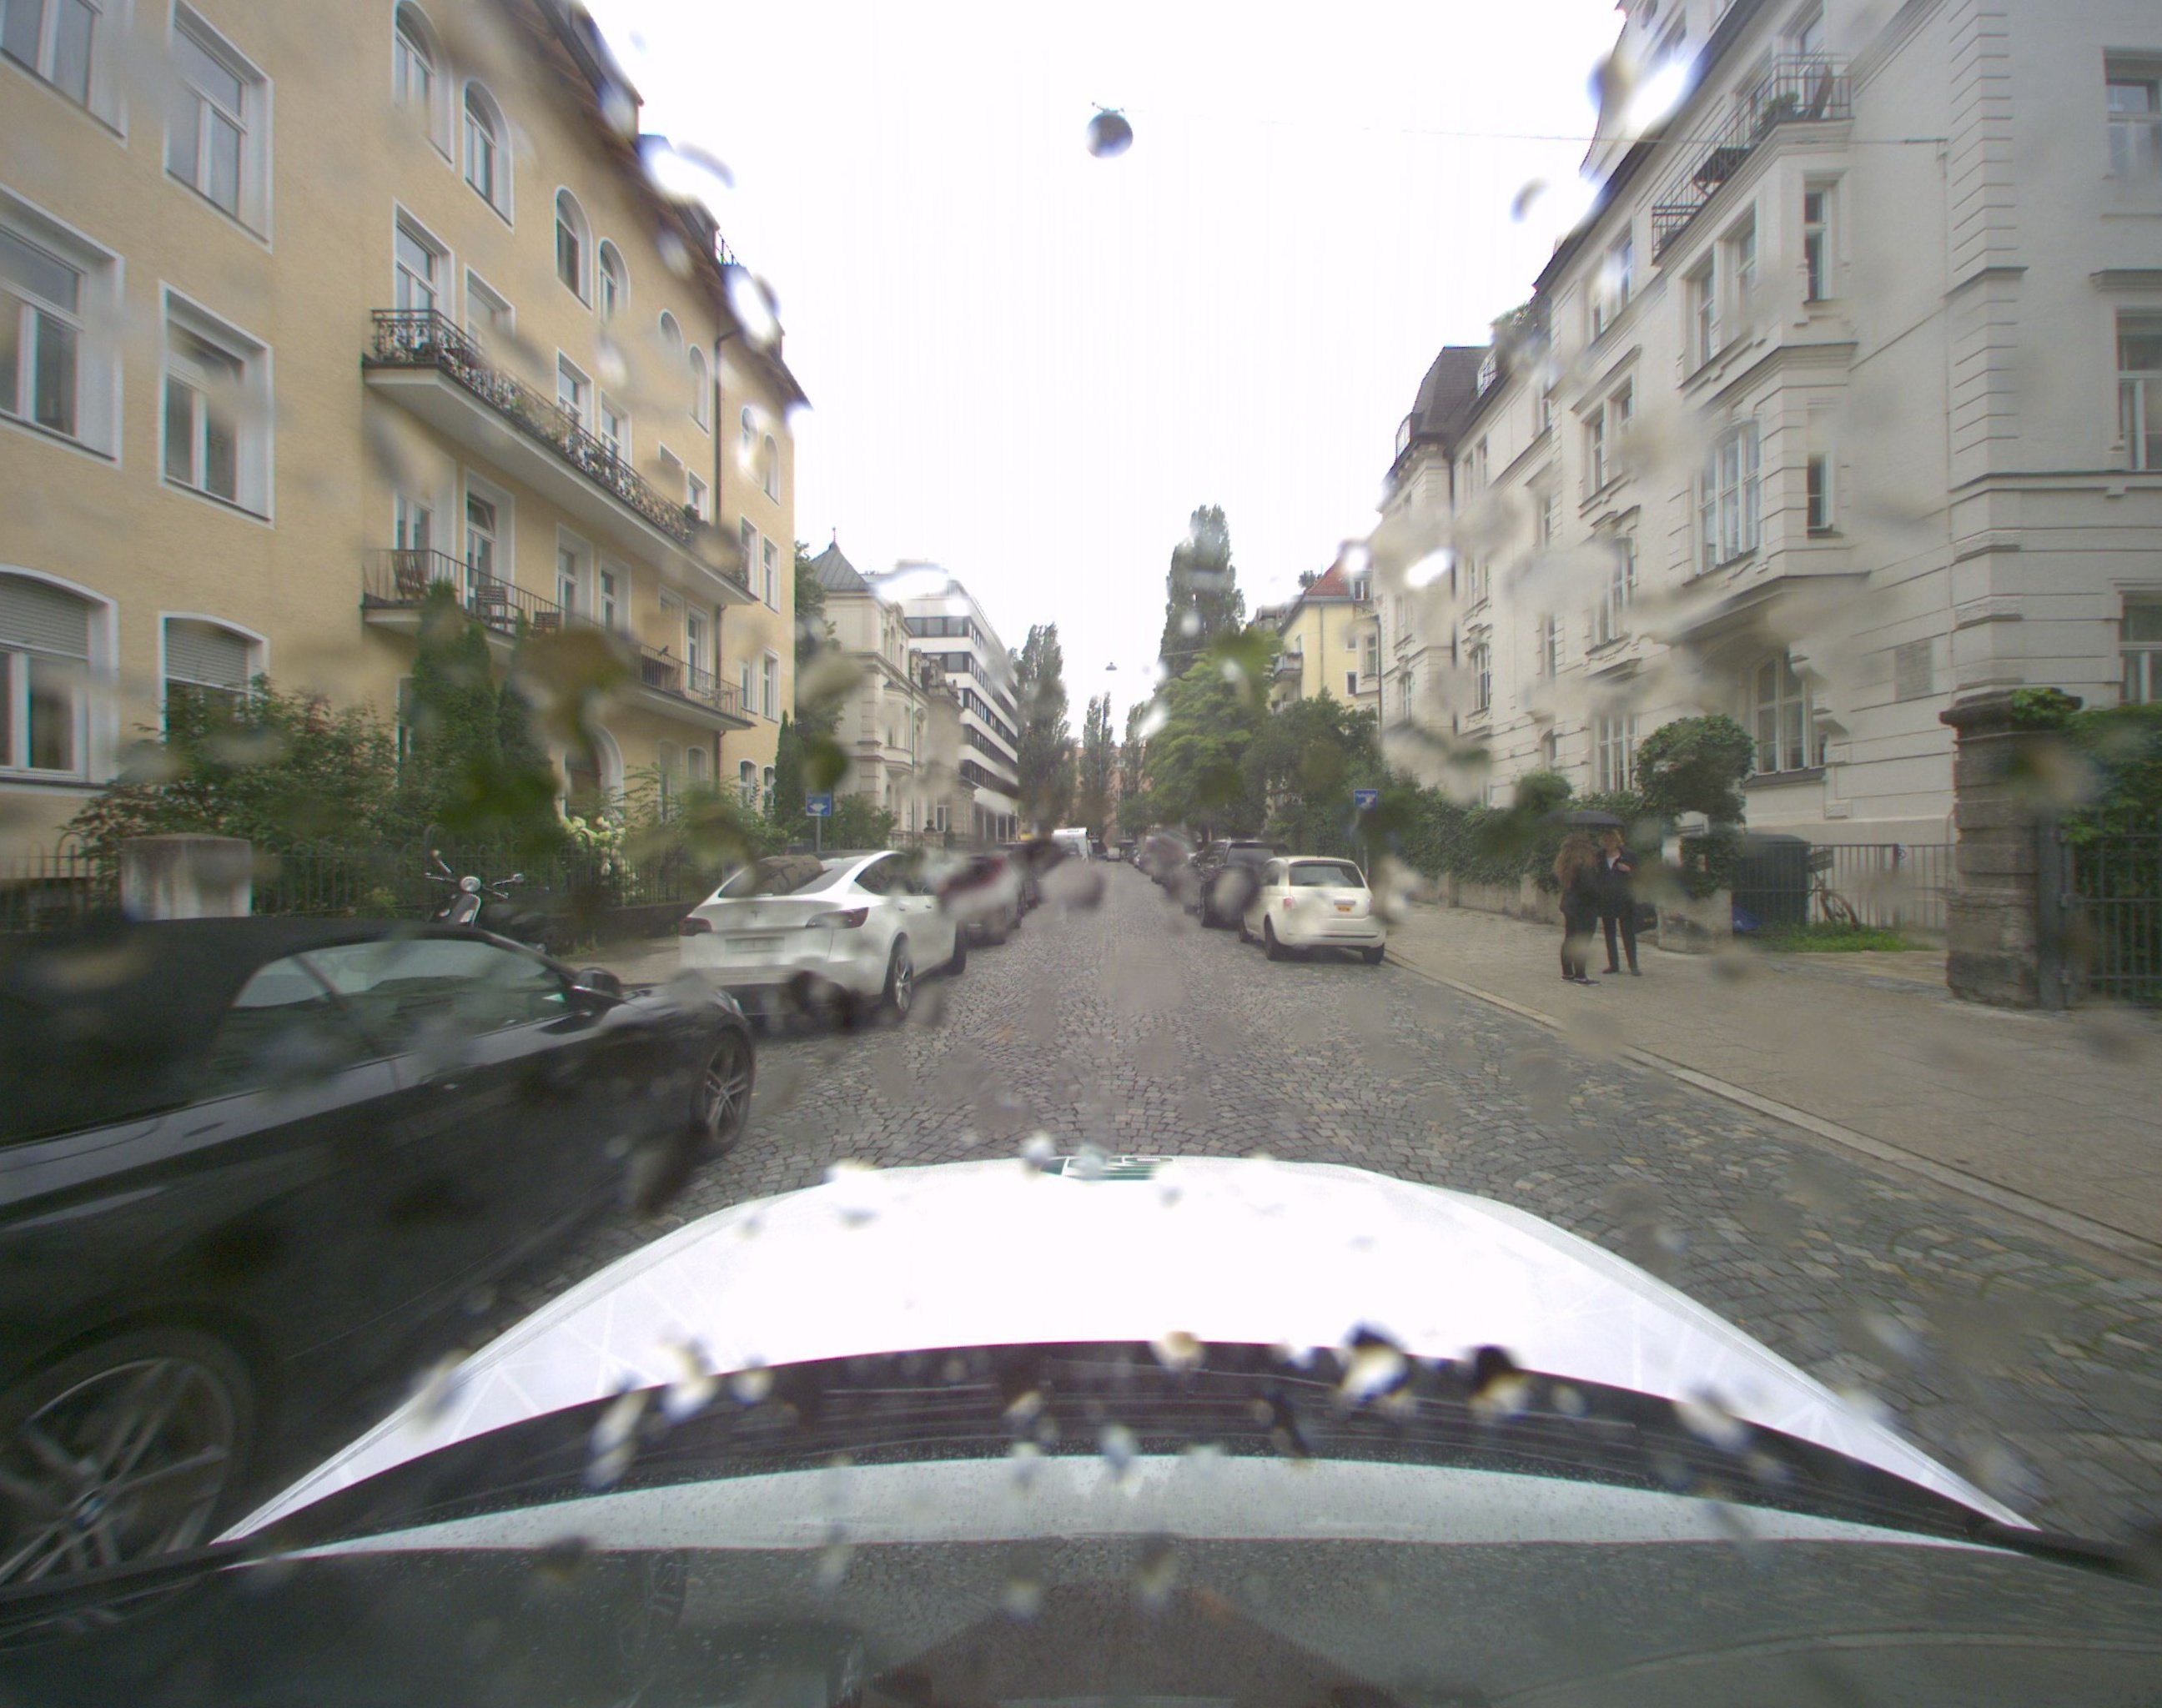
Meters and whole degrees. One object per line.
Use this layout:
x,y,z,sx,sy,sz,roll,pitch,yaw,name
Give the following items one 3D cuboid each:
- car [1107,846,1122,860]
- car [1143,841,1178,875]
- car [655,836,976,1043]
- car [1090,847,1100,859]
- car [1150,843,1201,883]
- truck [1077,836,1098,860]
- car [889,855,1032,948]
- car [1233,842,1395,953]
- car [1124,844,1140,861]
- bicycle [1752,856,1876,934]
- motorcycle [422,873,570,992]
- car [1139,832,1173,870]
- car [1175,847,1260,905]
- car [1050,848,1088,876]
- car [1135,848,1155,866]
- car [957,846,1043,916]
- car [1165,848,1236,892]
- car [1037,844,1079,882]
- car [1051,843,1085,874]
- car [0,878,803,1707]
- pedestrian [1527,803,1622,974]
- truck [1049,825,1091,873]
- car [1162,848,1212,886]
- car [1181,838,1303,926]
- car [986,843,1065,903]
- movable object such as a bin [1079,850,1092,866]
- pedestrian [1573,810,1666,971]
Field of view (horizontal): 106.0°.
4.551,-0.140,109.909,1.988,1.936,4.004,-1,0,3,car
4.976,0.234,51.370,1.793,1.949,4.862,2,0,1,car
-2.406,0.689,8.687,1.766,1.647,4.394,0,0,3,car
1.962,-0.146,110.744,1.272,1.541,3.120,0,0,2,car
4.388,0.394,38.549,1.956,1.759,4.956,0,0,1,car
0.688,-0.612,84.791,1.986,2.346,4.070,0,0,2,truck
-2.009,0.750,14.859,1.767,1.429,4.393,0,0,2,car
3.513,0.594,12.918,1.624,1.469,3.661,1,0,2,car
6.042,-0.124,96.324,1.860,1.961,4.004,-1,0,3,car
10.521,0.557,11.752,0.392,1.042,1.484,0,0,-3,bicycle
-6.527,0.829,9.181,0.489,1.194,1.580,0,0,2,motorcycle
5.197,-0.247,57.161,1.888,2.426,5.613,3,1,1,car
3.828,0.577,23.507,1.703,1.482,4.249,2,0,0,car
-0.618,0.424,44.749,1.933,1.459,4.059,0,0,1,car
5.449,0.248,69.659,1.594,1.486,3.480,0,0,1,car
-1.997,0.645,21.146,1.573,1.590,4.058,-3,0,2,car
4.166,0.531,29.021,1.769,1.429,4.388,0,0,-1,car
-1.061,0.429,39.413,1.767,1.717,4.392,0,0,1,car
-0.759,0.276,49.938,1.887,1.751,4.168,-2,0,0,car
-2.684,0.886,2.914,1.768,1.359,4.390,-4,0,0,car
5.568,0.370,9.209,0.575,1.850,0.680,-2,0,-9,pedestrian
-0.665,-0.347,55.994,2.499,3.031,6.386,-3,1,1,truck
4.342,0.503,33.843,1.677,1.453,3.967,1,0,1,car
3.394,0.539,18.176,1.867,1.673,5.494,0,0,3,car
-1.683,0.532,26.277,1.974,1.737,4.726,0,1,3,car
0.389,0.371,69.662,1.060,1.363,1.290,0,0,2,movable object such as a bin
6.317,0.411,9.564,0.630,1.808,0.655,0,-1,-21,pedestrian
